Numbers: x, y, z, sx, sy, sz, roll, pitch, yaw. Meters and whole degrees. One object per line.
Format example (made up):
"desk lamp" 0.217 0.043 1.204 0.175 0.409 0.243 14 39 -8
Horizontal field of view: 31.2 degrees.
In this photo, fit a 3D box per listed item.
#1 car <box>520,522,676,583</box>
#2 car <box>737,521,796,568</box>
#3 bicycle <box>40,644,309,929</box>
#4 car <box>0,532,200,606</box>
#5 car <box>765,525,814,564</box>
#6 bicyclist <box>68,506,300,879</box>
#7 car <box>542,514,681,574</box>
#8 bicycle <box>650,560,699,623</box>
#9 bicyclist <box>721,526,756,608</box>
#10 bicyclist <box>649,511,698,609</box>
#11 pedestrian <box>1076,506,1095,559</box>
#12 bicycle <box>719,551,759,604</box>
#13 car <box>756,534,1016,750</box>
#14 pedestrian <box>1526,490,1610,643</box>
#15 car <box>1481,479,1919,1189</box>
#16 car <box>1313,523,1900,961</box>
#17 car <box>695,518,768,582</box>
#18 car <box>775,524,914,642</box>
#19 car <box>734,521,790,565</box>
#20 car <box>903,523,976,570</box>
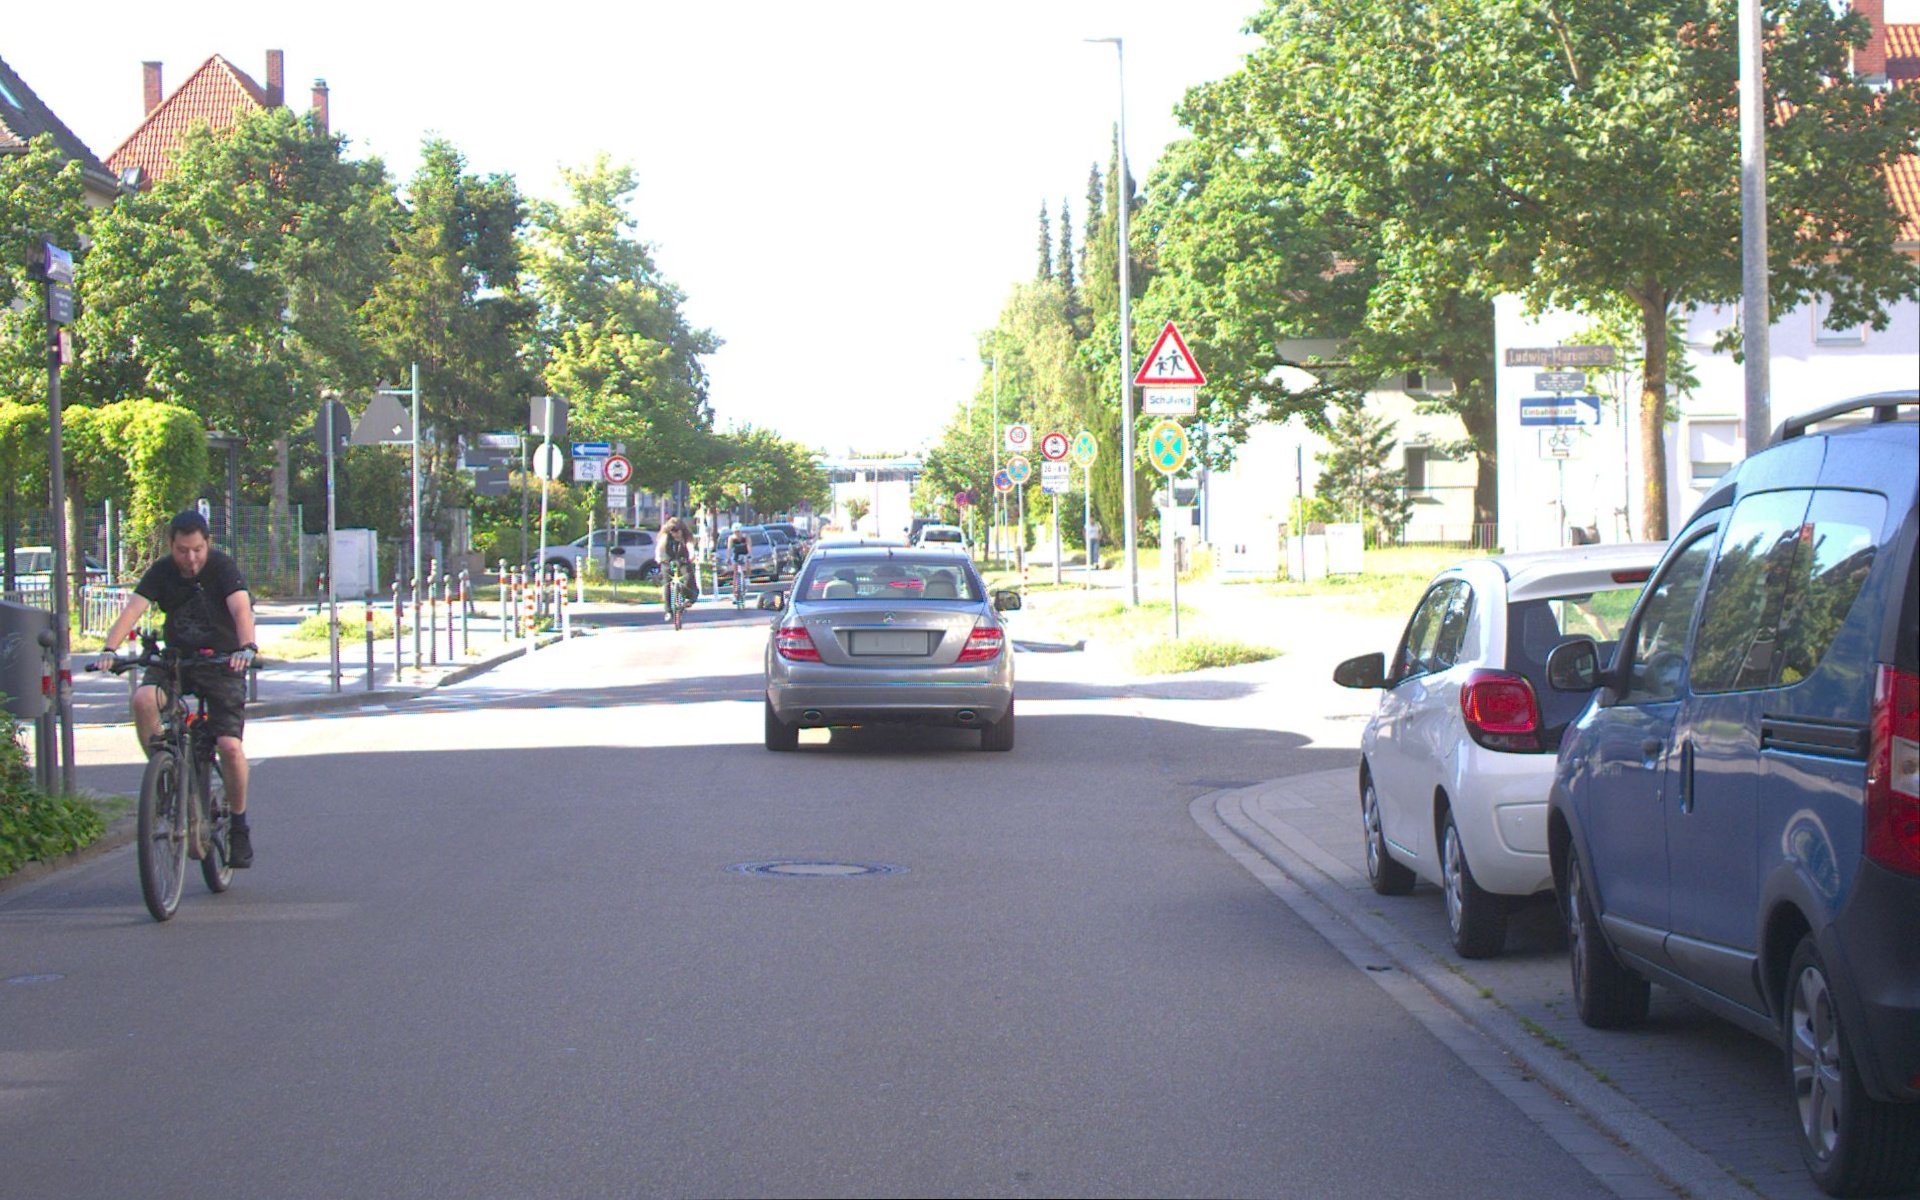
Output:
"car" -9.529 -1.239 90.800 3.986 1.518 1.757 1 0 -3
"car" -6.449 -1.862 114.361 1.786 1.527 4.001 0 1 -6
"bicycle" -3.361 0.770 14.879 0.719 1.075 1.891 -1 1 -1
"car" -17.272 -0.611 68.246 3.986 1.371 2.000 1 0 -4
"car" -6.908 -2.243 139.096 1.787 1.527 4.001 -1 1 -6
"bicyclist" -3.329 0.372 14.833 0.721 1.531 1.137 -1 1 -1
"car" -8.955 -1.435 88.249 3.493 1.528 1.645 0 1 -7
"bicycle" -4.439 -0.141 53.597 0.589 0.928 1.850 -1 1 0
"bicyclist" -4.090 -0.618 63.583 0.572 1.504 0.655 -1 1 0
"bicyclist" -4.455 -0.634 53.545 0.680 1.504 0.655 -1 1 0
"pedestrian" 3.719 -2.011 102.096 0.509 1.554 0.643 1 0 0
"bicycle" -4.081 -0.421 63.574 0.589 0.928 1.850 -1 1 0
"car" -0.503 0.280 25.140 1.726 1.415 3.960 1 0 0
"pedestrian" 6.519 -0.363 36.862 0.647 1.617 0.616 0 1 37
"car" 2.638 0.411 9.114 1.682 1.430 4.266 -5 0 -1
"car" 2.455 0.493 13.892 1.564 1.406 3.730 -5 0 0
"car" -6.389 -1.403 95.835 1.872 1.722 4.001 -1 1 -6
"car" -1.506 -0.217 45.100 1.707 1.443 4.203 1 0 -2
"car" -6.890 -1.991 119.370 1.786 1.527 4.001 0 1 -6
"car" -0.602 -1.541 98.427 1.722 1.325 4.001 0 1 -6
